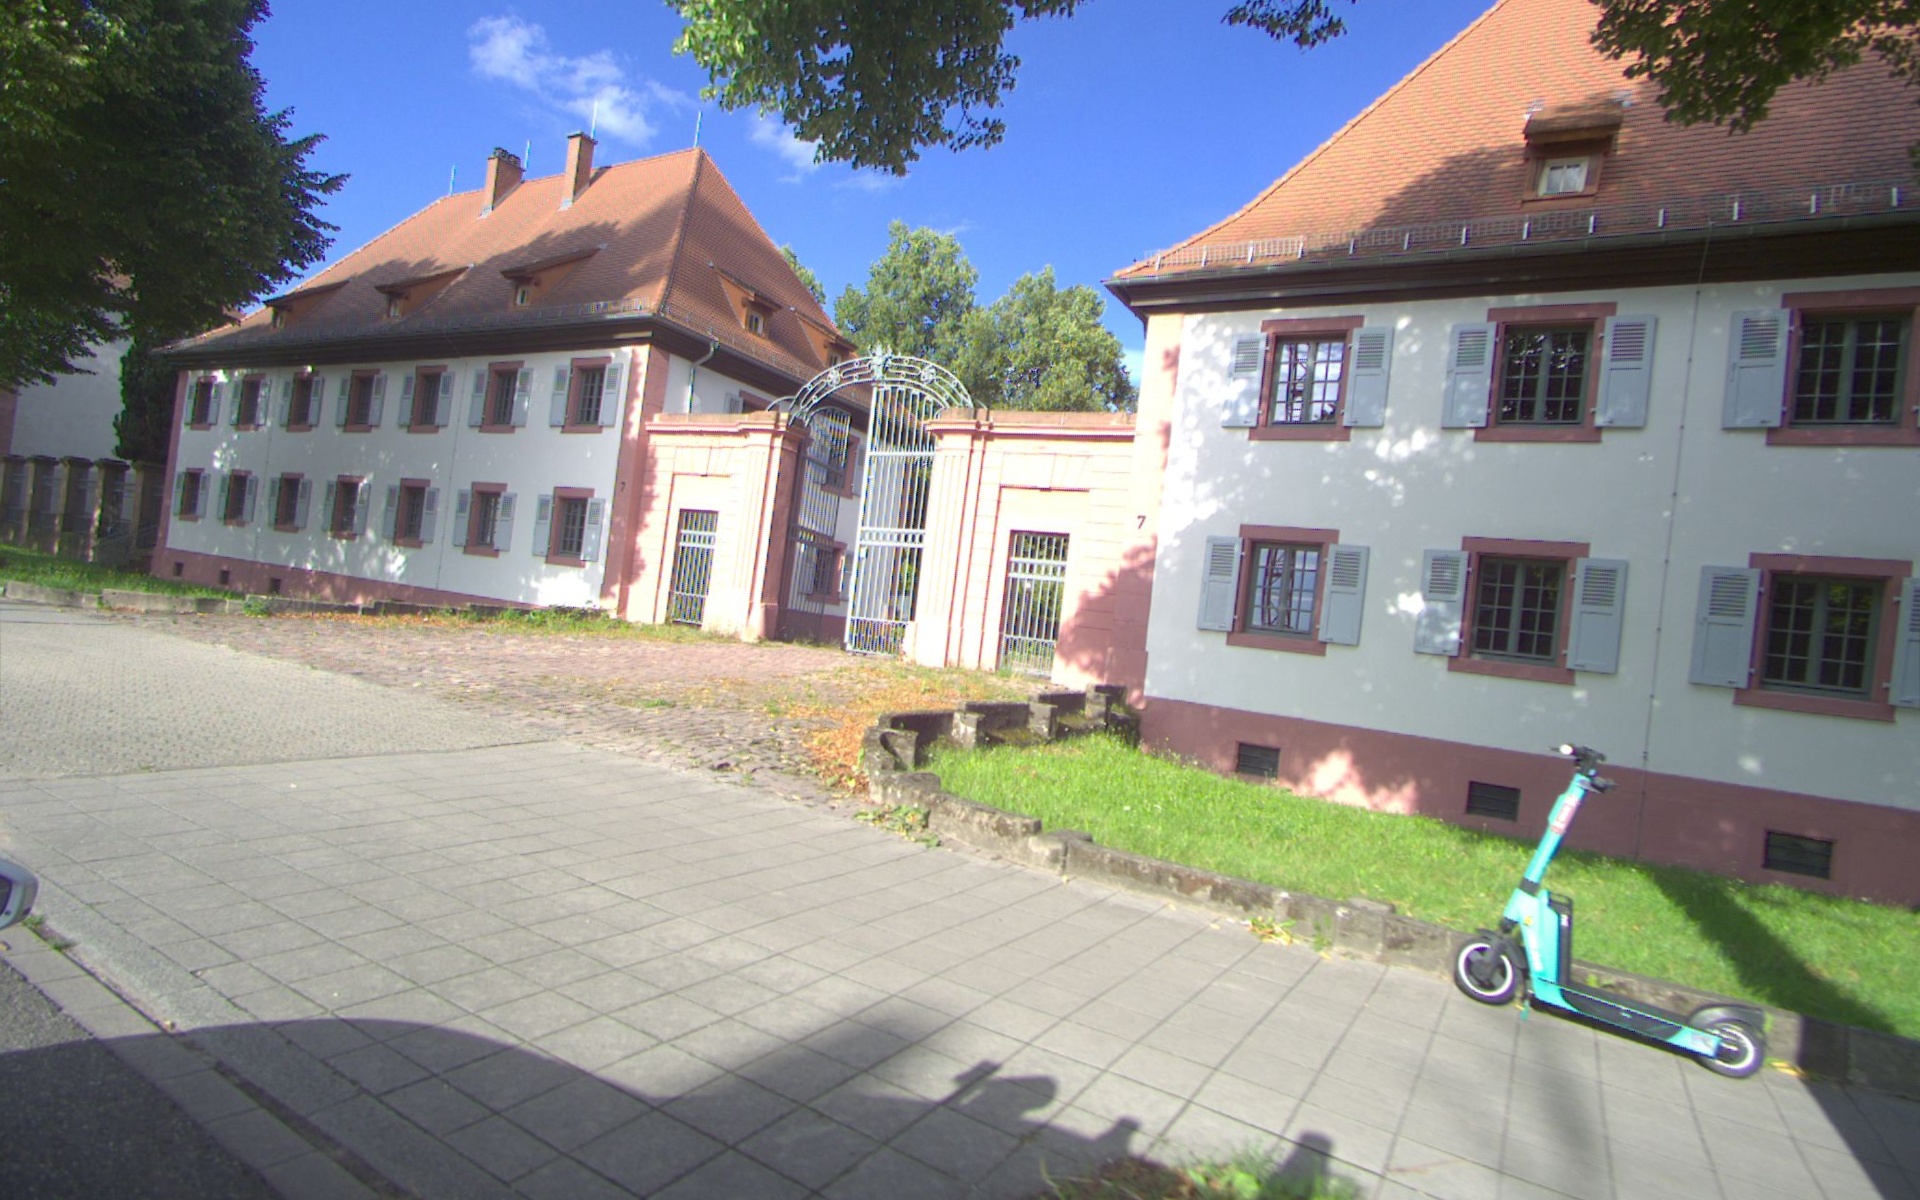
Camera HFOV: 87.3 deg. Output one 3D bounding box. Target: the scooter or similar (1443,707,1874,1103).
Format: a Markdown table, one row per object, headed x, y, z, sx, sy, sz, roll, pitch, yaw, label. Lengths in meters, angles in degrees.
| x | y | z | sx | sy | sz | roll | pitch | yaw | label |
| --- | --- | --- | --- | --- | --- | --- | --- | --- | --- |
| 2.990 | 1.229 | 4.450 | 1.359 | 1.308 | 0.579 | 6 | 1 | 33 | scooter or similar |
